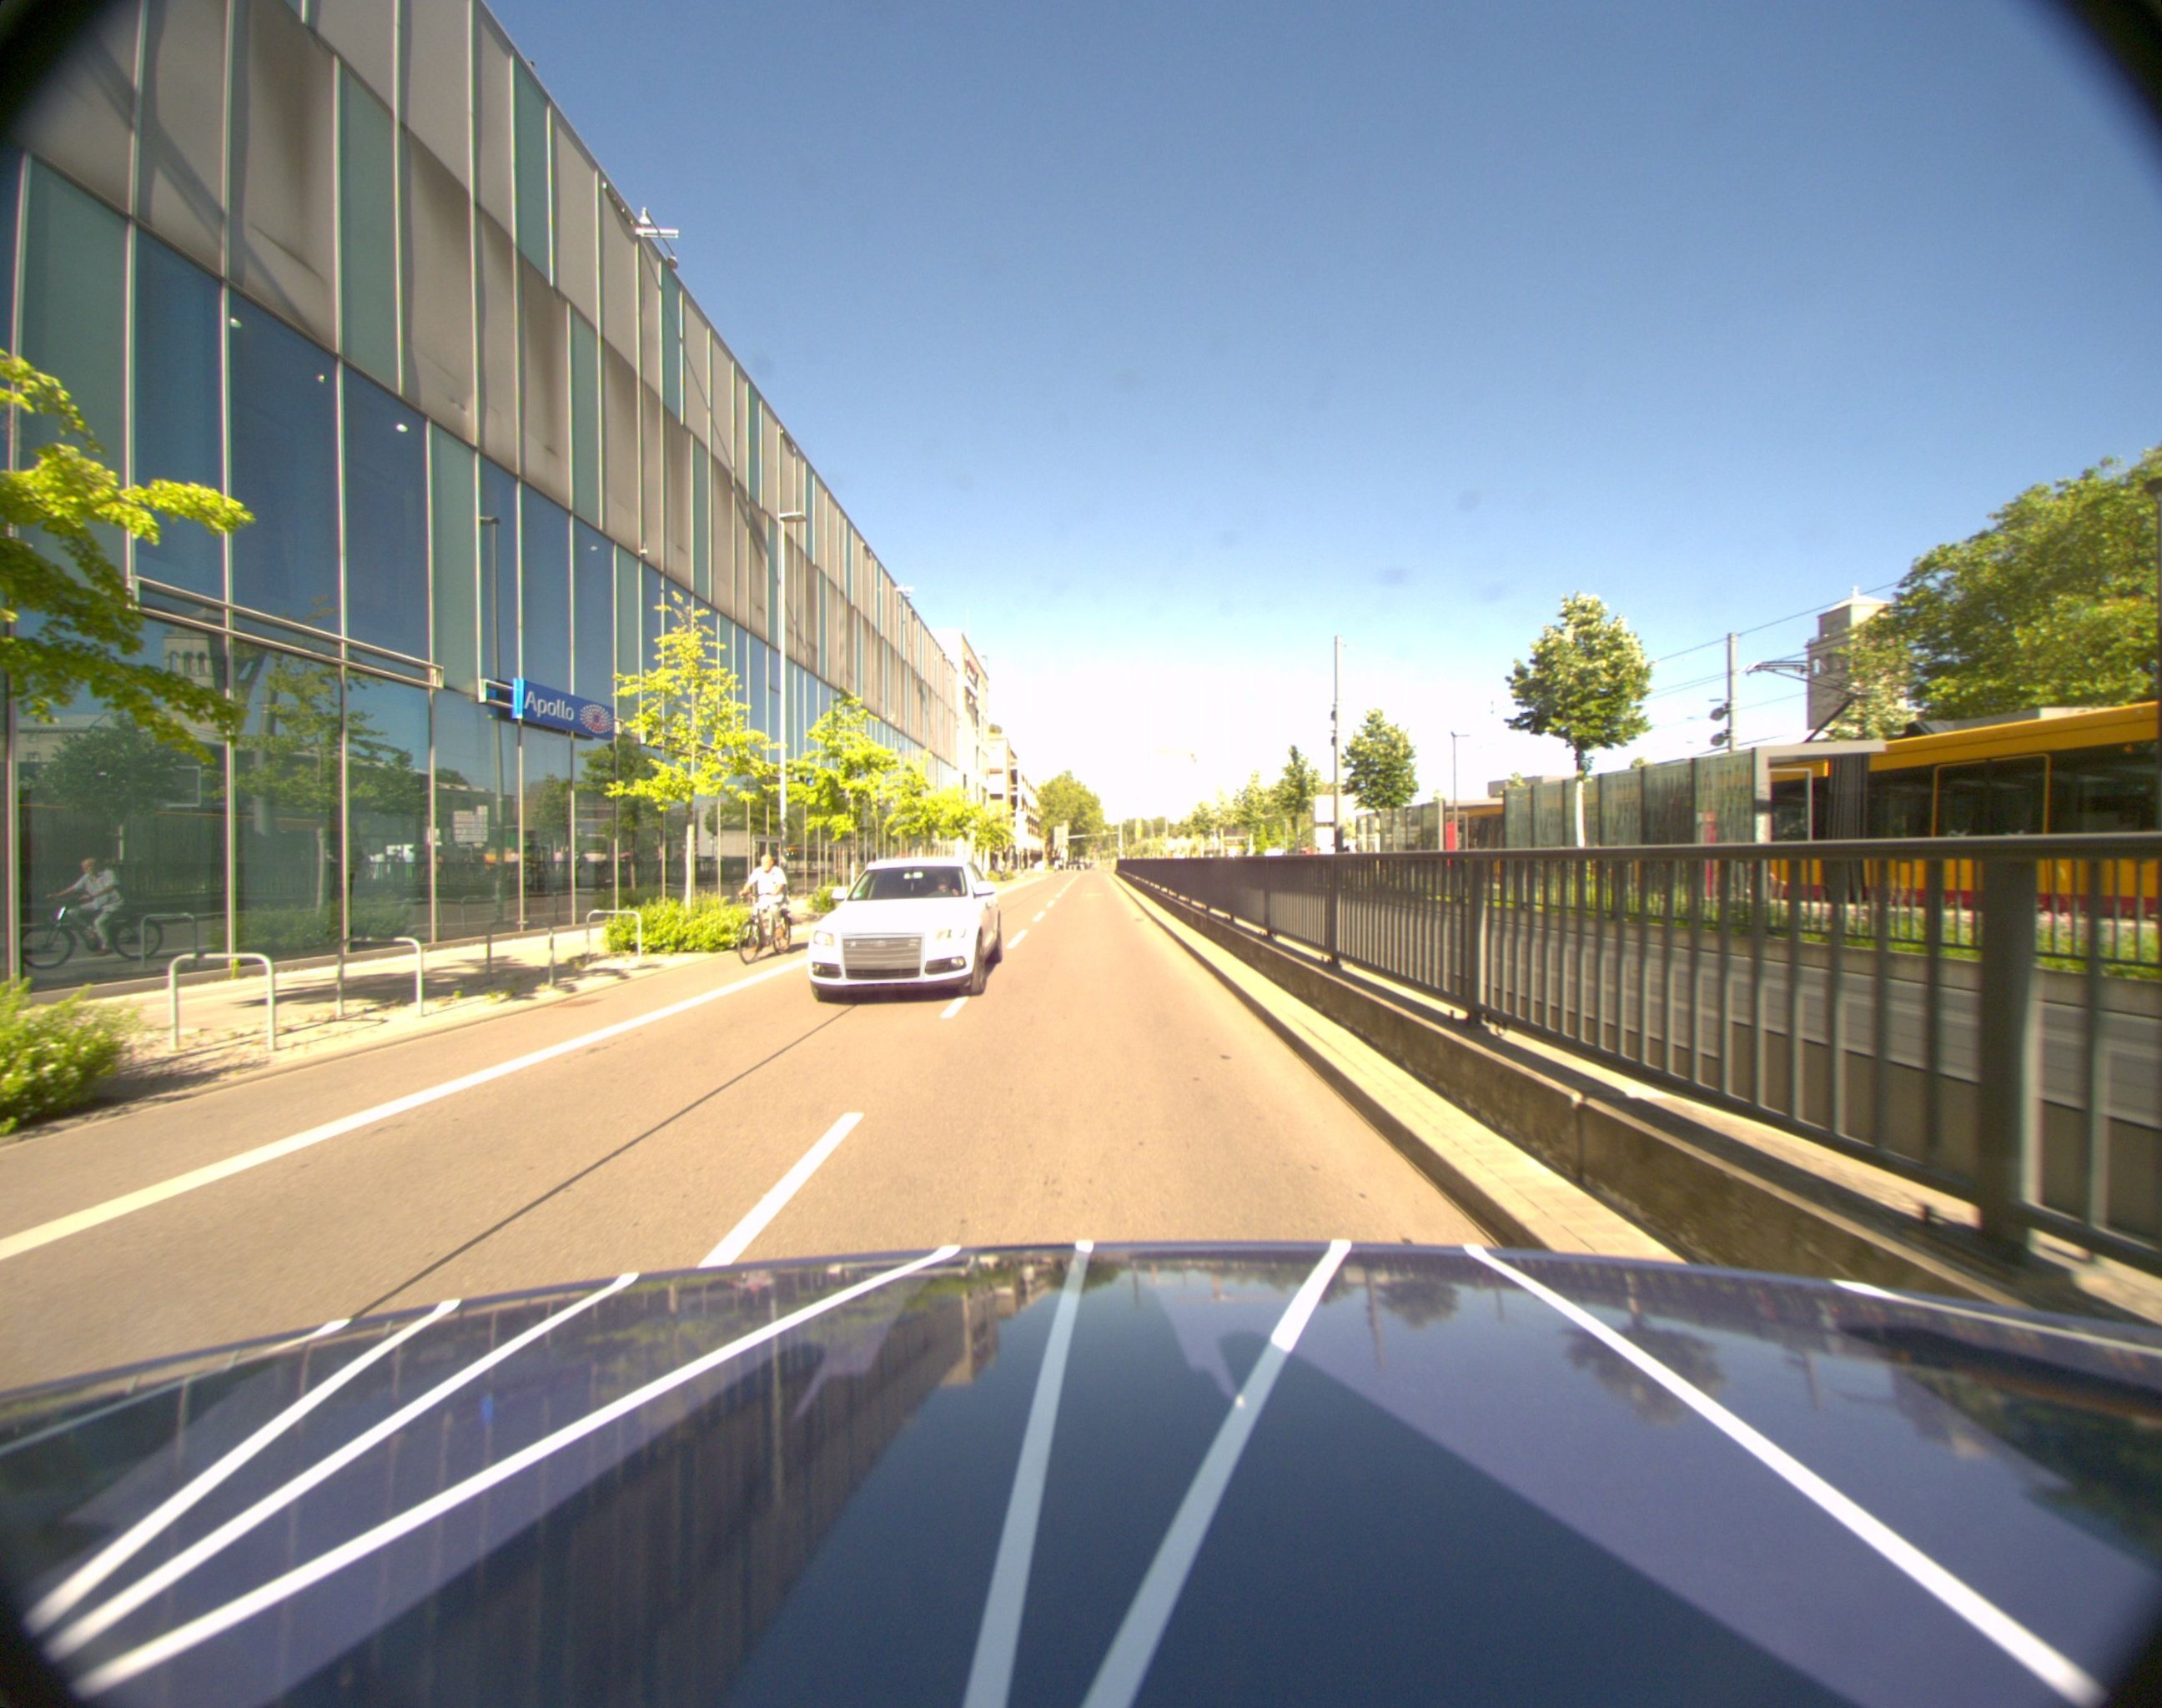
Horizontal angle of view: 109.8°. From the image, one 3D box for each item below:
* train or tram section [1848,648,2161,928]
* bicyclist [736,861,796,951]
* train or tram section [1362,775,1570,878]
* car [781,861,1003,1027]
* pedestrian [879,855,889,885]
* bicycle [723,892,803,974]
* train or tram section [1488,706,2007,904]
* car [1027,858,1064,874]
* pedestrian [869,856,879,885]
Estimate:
[{"bbox_3d":[15.361,-0.851,7.512,2.822,3.617,12.789,0,0,1],"label":"train or tram section"},{"bbox_3d":[-5.324,0.866,12.880,0.755,1.454,0.587,-1,1,-4],"label":"bicyclist"},{"bbox_3d":[15.886,-0.972,33.113,2.822,3.617,12.789,0,0,1],"label":"train or tram section"},{"bbox_3d":[-2.151,0.944,9.853,1.934,1.624,3.999,-2,0,-2],"label":"car"},{"bbox_3d":[-11.199,0.924,43.220,0.450,1.681,0.345,-1,0,1],"label":"pedestrian"},{"bbox_3d":[-5.315,1.283,12.836,0.610,1.144,1.986,-1,1,-4],"label":"bicycle"},{"bbox_3d":[15.633,-0.907,20.315,2.822,3.617,12.789,0,0,1],"label":"train or tram section"},{"bbox_3d":[-3.724,1.227,79.216,3.802,1.527,1.786,-2,0,-3],"label":"car"},{"bbox_3d":[-11.733,0.933,43.051,0.450,1.591,0.287,-1,0,1],"label":"pedestrian"}]
